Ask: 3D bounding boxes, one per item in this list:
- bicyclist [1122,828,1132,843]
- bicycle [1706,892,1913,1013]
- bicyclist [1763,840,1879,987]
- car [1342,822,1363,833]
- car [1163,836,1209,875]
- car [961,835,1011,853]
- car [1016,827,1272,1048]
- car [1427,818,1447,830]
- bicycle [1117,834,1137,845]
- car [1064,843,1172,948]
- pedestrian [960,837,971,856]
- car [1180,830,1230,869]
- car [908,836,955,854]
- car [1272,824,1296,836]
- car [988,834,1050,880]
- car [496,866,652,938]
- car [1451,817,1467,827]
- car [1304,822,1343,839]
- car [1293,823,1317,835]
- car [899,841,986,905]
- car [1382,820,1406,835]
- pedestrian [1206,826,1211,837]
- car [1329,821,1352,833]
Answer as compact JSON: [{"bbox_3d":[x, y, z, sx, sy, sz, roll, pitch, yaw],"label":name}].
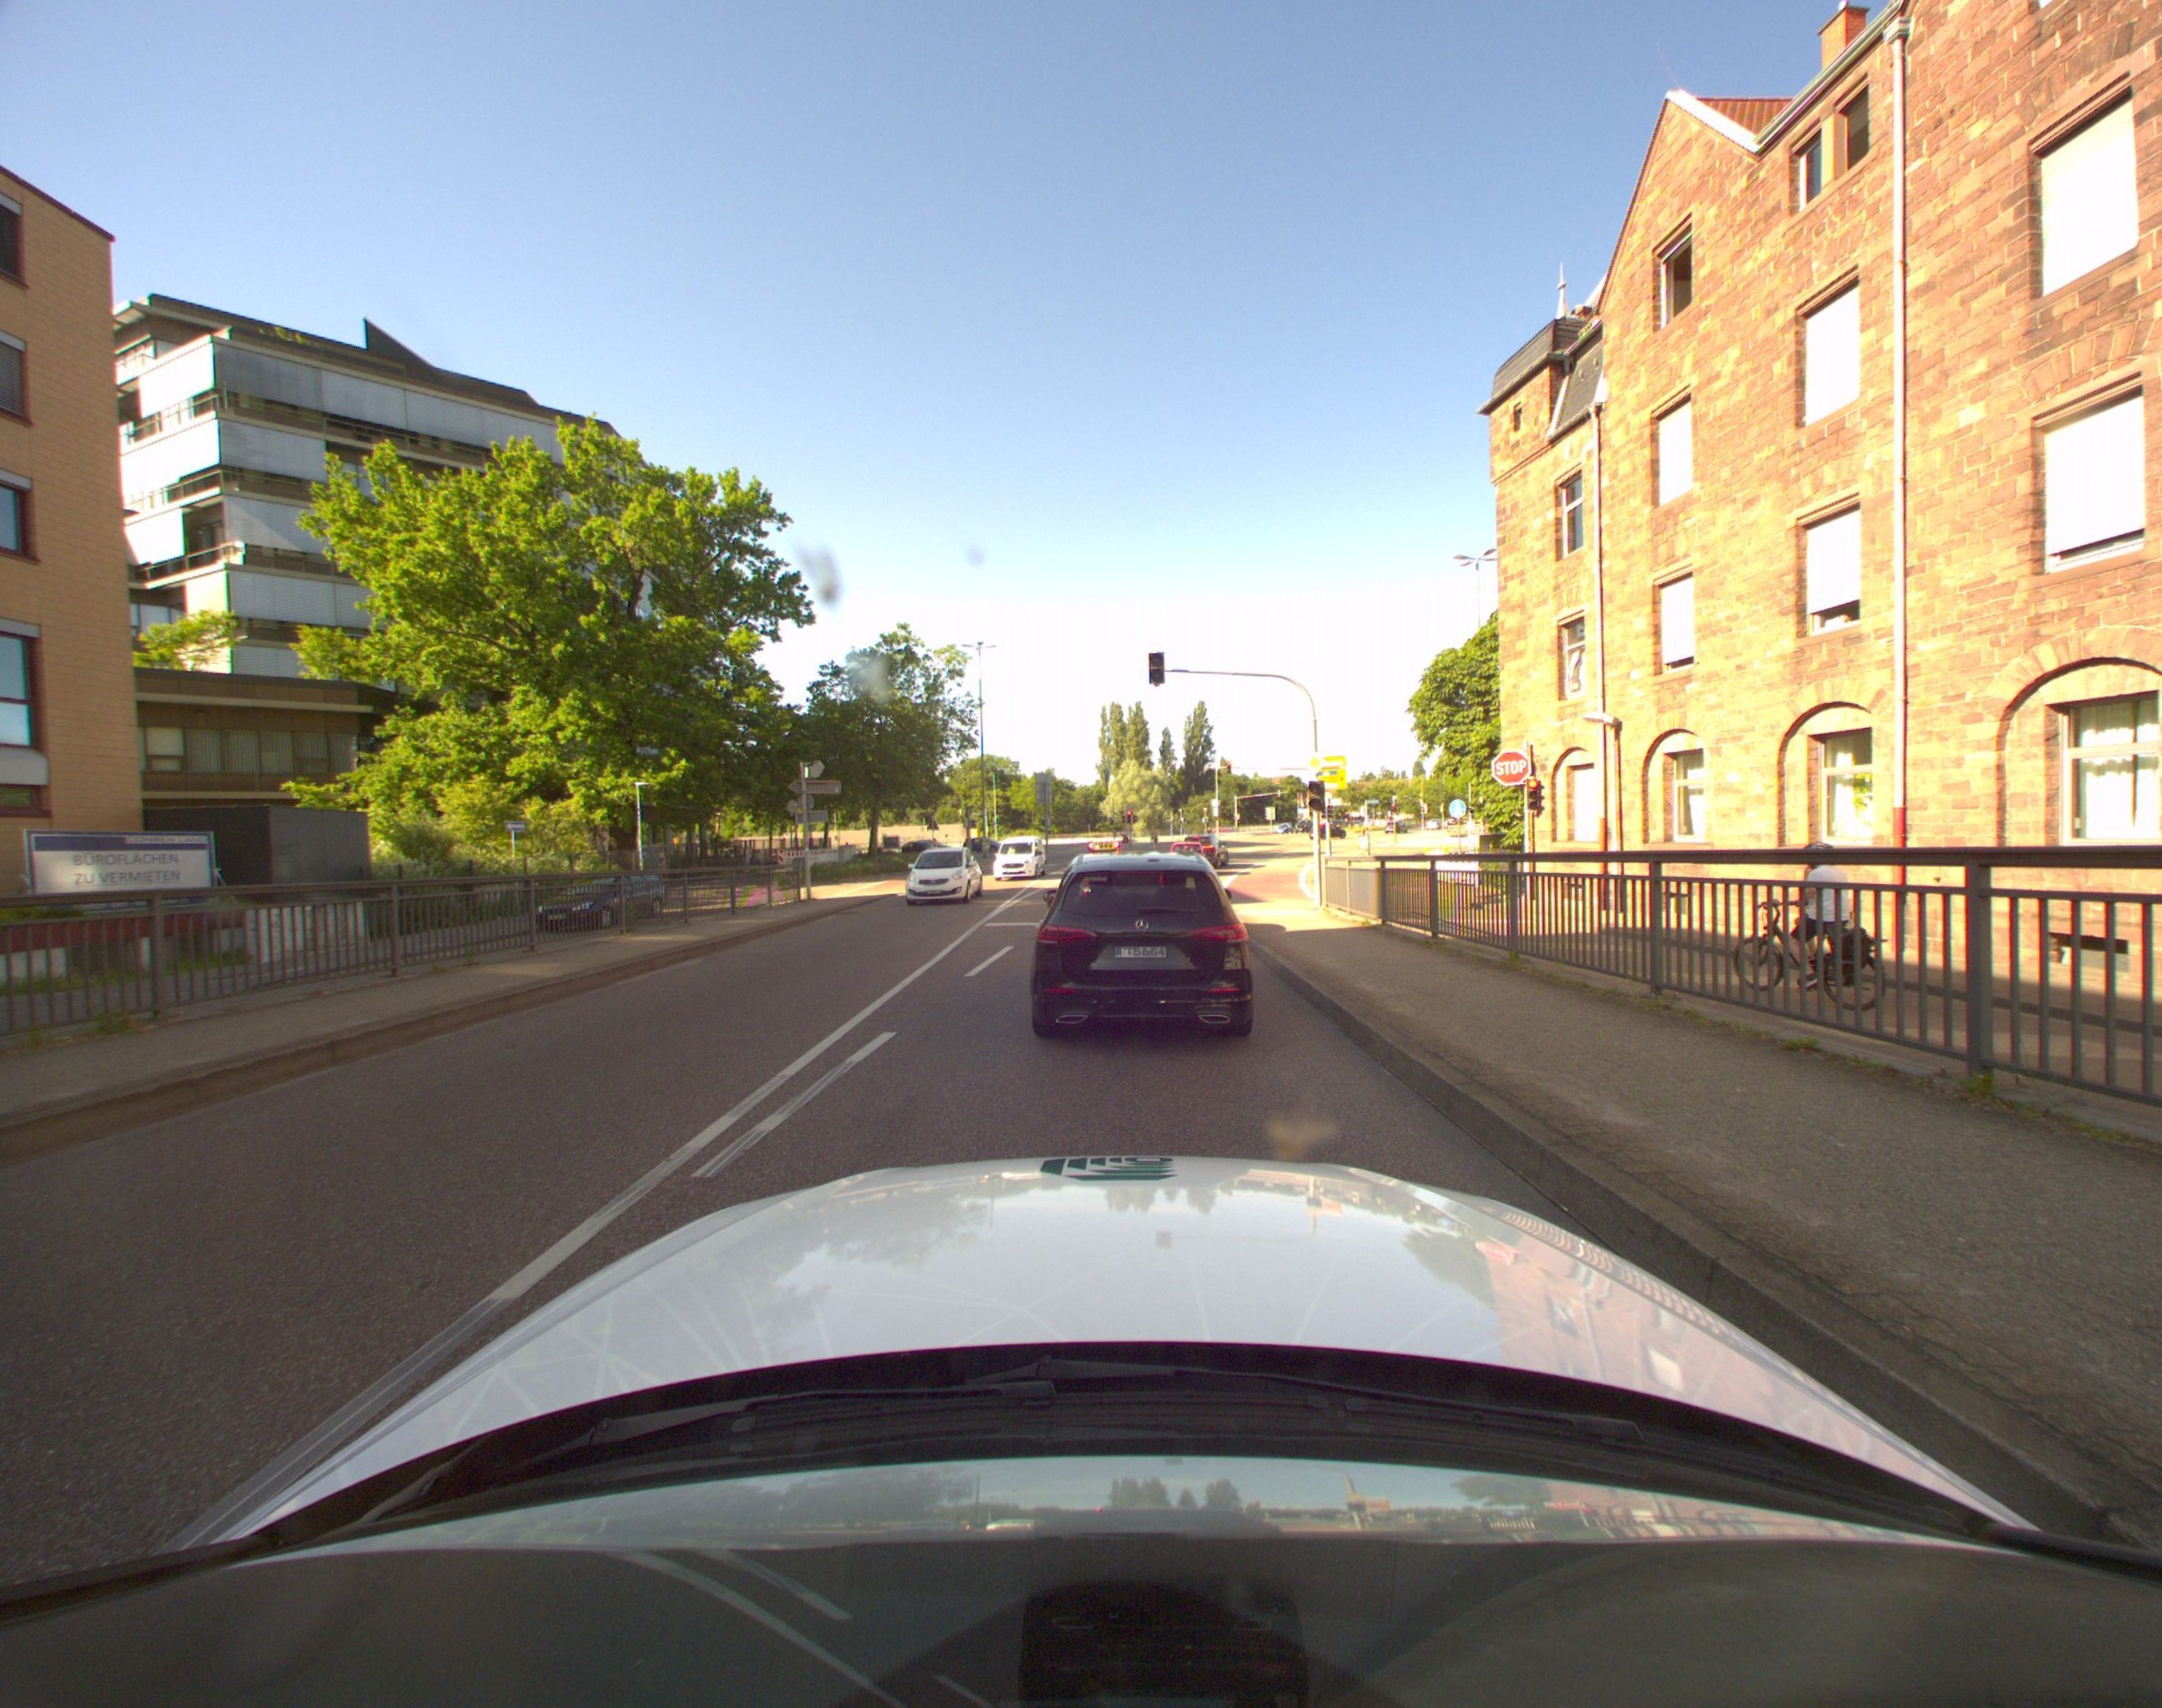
[{"bbox_3d":[4.821,-1.967,85.808,0.806,1.551,0.524,-3,1,-15],"label":"bicyclist"},{"bbox_3d":[8.413,1.080,9.534,0.686,1.140,1.835,0,1,-5],"label":"bicycle"},{"bbox_3d":[8.427,0.648,9.297,0.684,1.608,0.695,0,1,-6],"label":"bicyclist"},{"bbox_3d":[41.000,-4.024,122.840,1.860,1.578,4.026,-1,2,37],"label":"car"},{"bbox_3d":[4.768,0.041,36.592,1.710,1.521,3.498,-1,3,12],"label":"car"},{"bbox_3d":[-9.319,-0.962,79.809,4.358,1.629,1.901,-1,1,23],"label":"car"},{"bbox_3d":[0.501,0.599,8.002,1.871,1.613,4.001,-1,0,1],"label":"car"},{"bbox_3d":[48.488,-4.106,110.870,1.866,1.629,4.026,-1,1,33],"label":"car"},{"bbox_3d":[4.832,-1.527,85.827,1.987,1.050,0.524,-3,1,-16],"label":"bicycle"},{"bbox_3d":[0.687,0.632,14.520,1.633,1.529,3.477,-3,1,3],"label":"car"},{"bbox_3d":[-9.265,-0.620,65.372,0.700,1.525,0.746,-1,1,12],"label":"pedestrian"},{"bbox_3d":[6.478,-0.280,42.193,1.707,1.812,4.319,-2,2,19],"label":"car"},{"bbox_3d":[-15.108,-0.878,82.156,4.356,1.629,1.902,-1,1,26],"label":"car"},{"bbox_3d":[29.260,-3.479,117.097,1.860,1.578,4.026,-1,2,37],"label":"car"},{"bbox_3d":[-2.648,0.085,36.196,1.909,1.794,4.906,-3,1,5],"label":"car"},{"bbox_3d":[-14.388,1.290,23.420,1.845,1.692,4.001,-2,1,1],"label":"car"},{"bbox_3d":[65.419,-5.579,140.941,1.866,1.547,4.025,-1,-1,35],"label":"car"},{"bbox_3d":[25.298,-2.455,84.946,4.020,1.629,1.869,-3,1,-38],"label":"car"},{"bbox_3d":[31.411,-3.531,114.001,1.860,1.578,4.026,-1,2,37],"label":"car"},{"bbox_3d":[-4.015,0.496,24.242,1.771,1.635,4.001,-3,1,1],"label":"car"},{"bbox_3d":[37.569,-3.193,97.833,1.866,1.629,4.026,-1,1,33],"label":"car"},{"bbox_3d":[18.728,-3.326,119.241,0.445,1.585,0.505,-2,1,42],"label":"pedestrian"},{"bbox_3d":[37.169,-3.821,116.750,1.860,1.578,4.026,-1,2,37],"label":"car"}]
